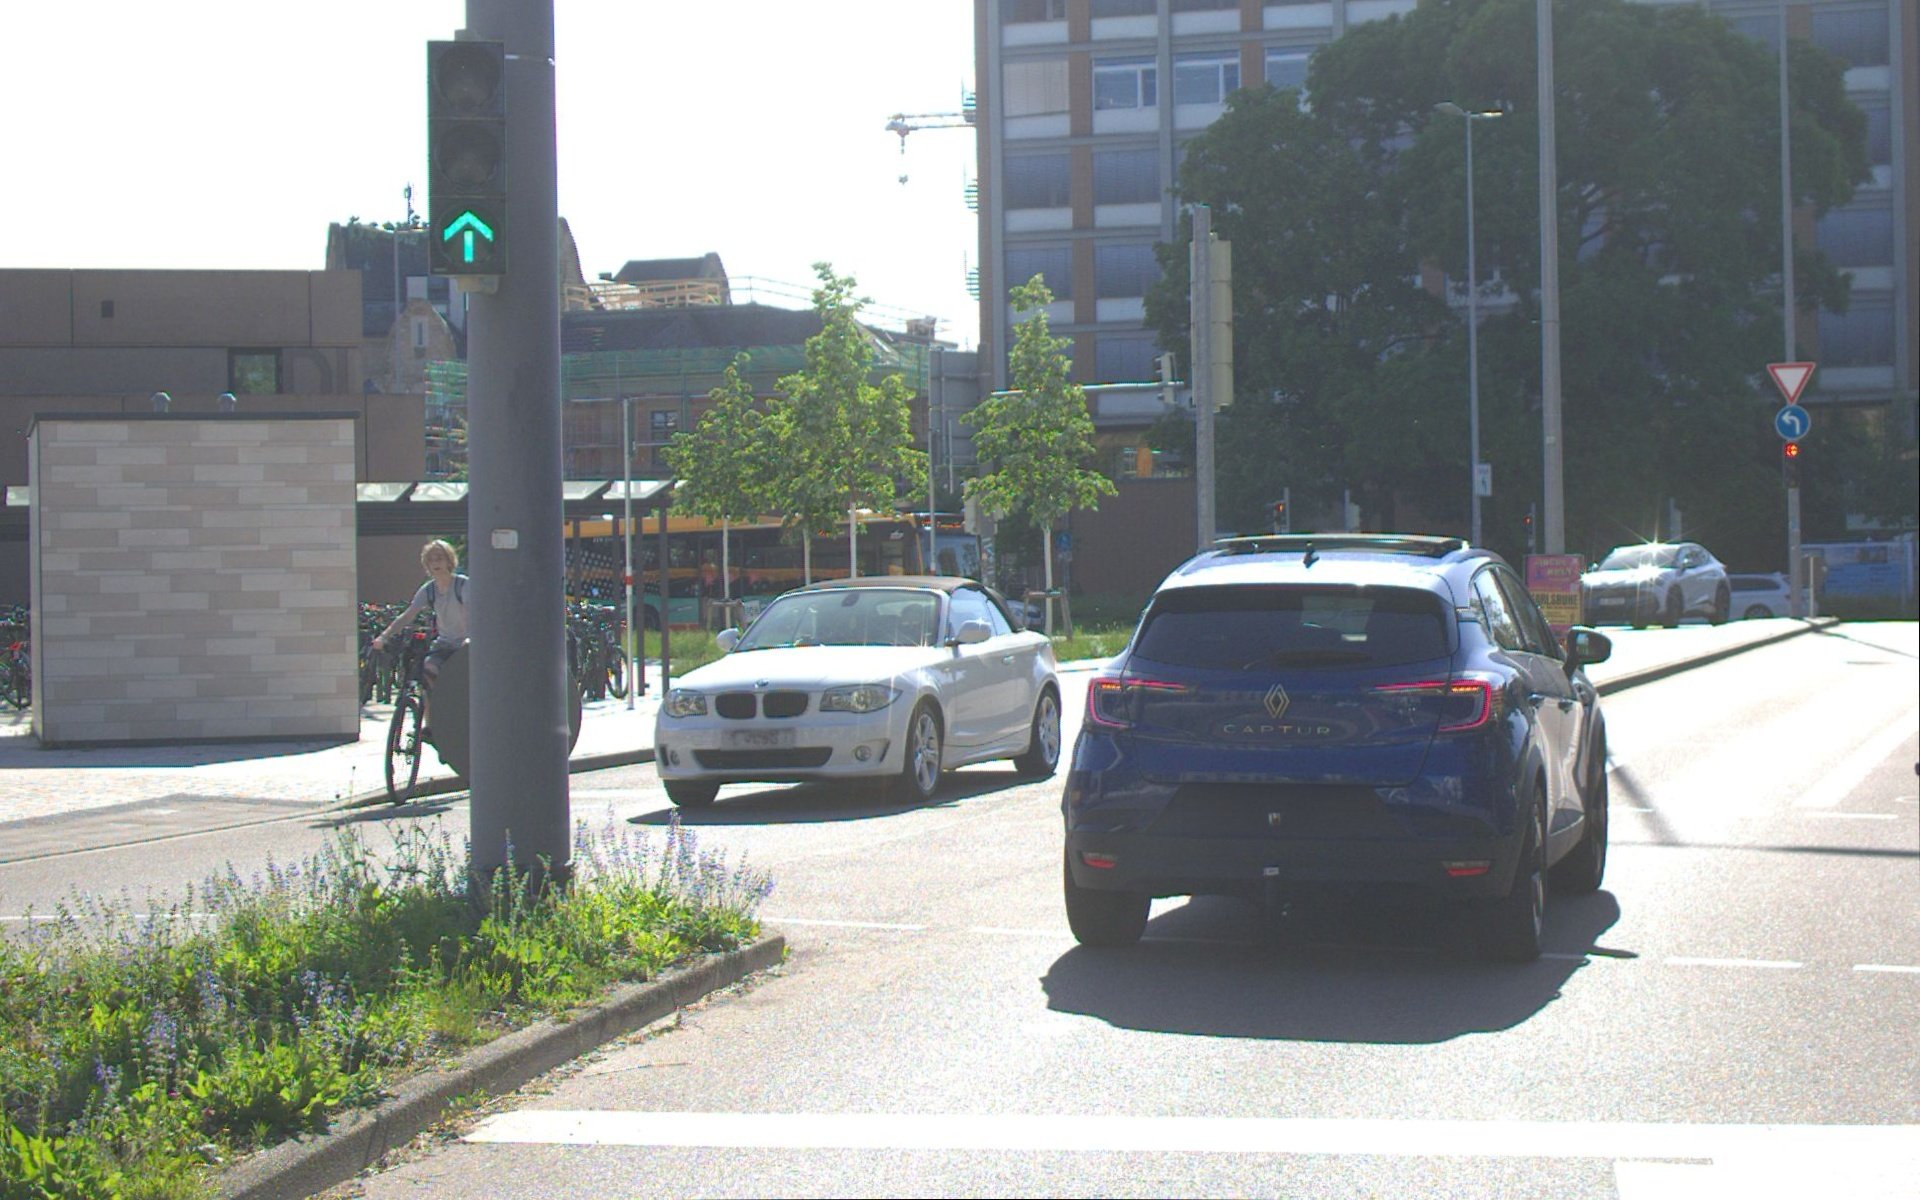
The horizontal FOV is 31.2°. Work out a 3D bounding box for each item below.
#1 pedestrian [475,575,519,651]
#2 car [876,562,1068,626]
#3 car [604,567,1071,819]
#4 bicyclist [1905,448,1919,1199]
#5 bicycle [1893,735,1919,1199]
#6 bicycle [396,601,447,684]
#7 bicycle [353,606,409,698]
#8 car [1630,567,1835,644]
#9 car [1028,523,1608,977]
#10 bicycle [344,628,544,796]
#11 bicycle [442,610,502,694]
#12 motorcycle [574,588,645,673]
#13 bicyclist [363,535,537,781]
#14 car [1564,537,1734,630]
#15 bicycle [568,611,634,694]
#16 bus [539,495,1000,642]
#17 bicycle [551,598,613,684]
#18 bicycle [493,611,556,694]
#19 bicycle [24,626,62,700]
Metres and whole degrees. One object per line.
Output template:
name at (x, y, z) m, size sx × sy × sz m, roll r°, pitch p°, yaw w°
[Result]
pedestrian at (-10.684, 0.308, 79.326) m, size 0.655 × 1.735 × 0.786 m, roll 0°, pitch -1°, yaw 35°
car at (0.274, -0.122, 84.494) m, size 4.406 × 1.516 × 1.966 m, roll 0°, pitch -1°, yaw 36°
car at (-0.692, 0.548, 22.701) m, size 1.801 × 1.388 × 4.090 m, roll -1°, pitch 2°, yaw 17°
bicyclist at (2.595, 0.504, 8.067) m, size 0.664 × 1.741 × 1.005 m, roll 1°, pitch 0°, yaw 14°
bicycle at (2.594, 0.894, 8.149) m, size 0.663 × 1.044 × 1.889 m, roll 1°, pitch 1°, yaw 13°
bicycle at (-7.225, 0.570, 46.083) m, size 0.580 × 1.084 × 2.059 m, roll 0°, pitch -1°, yaw -11°
bicycle at (-6.757, 0.604, 40.062) m, size 0.580 × 1.054 × 1.817 m, roll 0°, pitch -1°, yaw -11°
car at (19.578, 0.152, 87.192) m, size 4.660 × 1.894 × 1.996 m, roll 0°, pitch -1°, yaw 36°
car at (1.605, 0.516, 14.189) m, size 1.824 × 1.594 × 3.656 m, roll 1°, pitch 0°, yaw 15°
bicycle at (-3.537, 0.749, 23.744) m, size 0.773 × 1.077 × 2.035 m, roll -1°, pitch 0°, yaw 9°
bicycle at (-5.757, 0.613, 40.478) m, size 0.580 × 0.958 × 2.059 m, roll 0°, pitch -1°, yaw -11°
motorcycle at (-4.964, 0.440, 48.578) m, size 0.551 × 1.173 × 1.922 m, roll 1°, pitch -1°, yaw -20°
bicyclist at (-3.502, 0.392, 23.699) m, size 0.880 × 1.639 × 1.060 m, roll -1°, pitch 0°, yaw 9°
car at (12.870, -0.333, 64.044) m, size 1.821 × 1.563 × 4.243 m, roll -2°, pitch 0°, yaw 29°
bicycle at (-4.275, 0.623, 40.868) m, size 0.580 × 0.958 × 2.059 m, roll 0°, pitch -1°, yaw -11°
bus at (-4.852, -0.672, 84.365) m, size 12.432 × 3.384 × 2.876 m, roll 0°, pitch -1°, yaw 38°
bicycle at (-4.723, 0.510, 42.889) m, size 0.580 × 1.048 × 1.973 m, roll 0°, pitch -1°, yaw -11°
bicycle at (-5.149, 0.617, 40.591) m, size 0.580 × 0.958 × 2.059 m, roll 0°, pitch -1°, yaw -11°
bicycle at (-12.046, 0.823, 45.154) m, size 0.421 × 0.934 × 1.306 m, roll 1°, pitch 0°, yaw -17°
